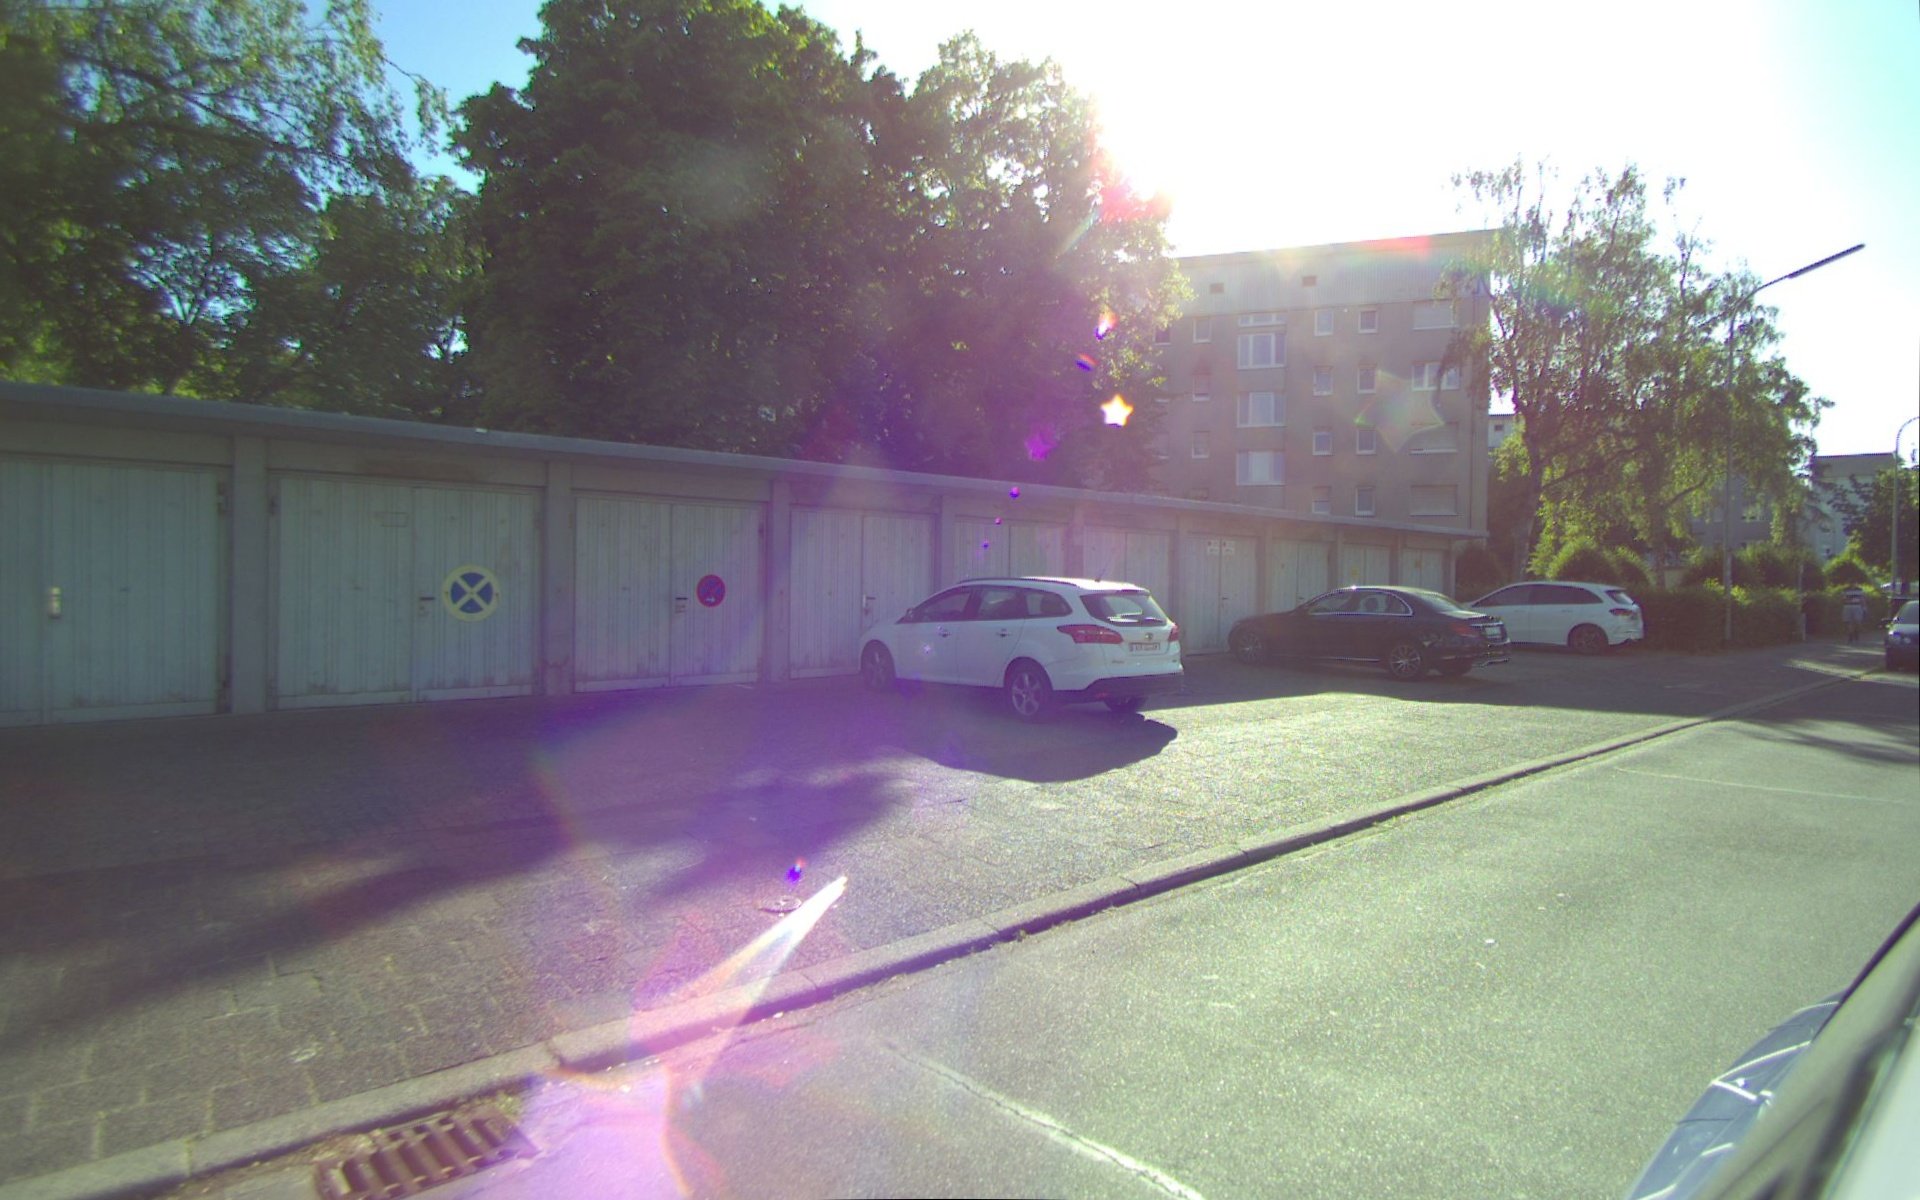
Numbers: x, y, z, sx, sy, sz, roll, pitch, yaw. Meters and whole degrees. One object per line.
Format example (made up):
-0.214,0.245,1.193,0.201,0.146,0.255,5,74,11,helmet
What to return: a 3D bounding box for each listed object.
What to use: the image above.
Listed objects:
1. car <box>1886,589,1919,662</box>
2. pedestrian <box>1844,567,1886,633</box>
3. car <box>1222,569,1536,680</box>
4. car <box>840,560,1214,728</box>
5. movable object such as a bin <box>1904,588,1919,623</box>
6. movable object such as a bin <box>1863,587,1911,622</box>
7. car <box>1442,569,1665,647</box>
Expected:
20.415,0.480,20.794,3.829,1.421,1.733,0,0,-43,car
26.821,-0.011,30.000,0.857,1.911,0.705,0,3,-39,pedestrian
6.786,0.298,16.865,1.795,1.532,4.526,0,2,-38,car
0.569,0.341,11.756,1.796,1.532,4.426,0,2,-39,car
37.706,0.234,39.346,1.359,1.325,1.031,0,4,-30,movable object such as a bin
37.586,0.170,41.031,1.112,1.382,1.227,0,1,-36,movable object such as a bin
13.225,0.103,22.701,1.798,1.532,3.948,0,2,-42,car
